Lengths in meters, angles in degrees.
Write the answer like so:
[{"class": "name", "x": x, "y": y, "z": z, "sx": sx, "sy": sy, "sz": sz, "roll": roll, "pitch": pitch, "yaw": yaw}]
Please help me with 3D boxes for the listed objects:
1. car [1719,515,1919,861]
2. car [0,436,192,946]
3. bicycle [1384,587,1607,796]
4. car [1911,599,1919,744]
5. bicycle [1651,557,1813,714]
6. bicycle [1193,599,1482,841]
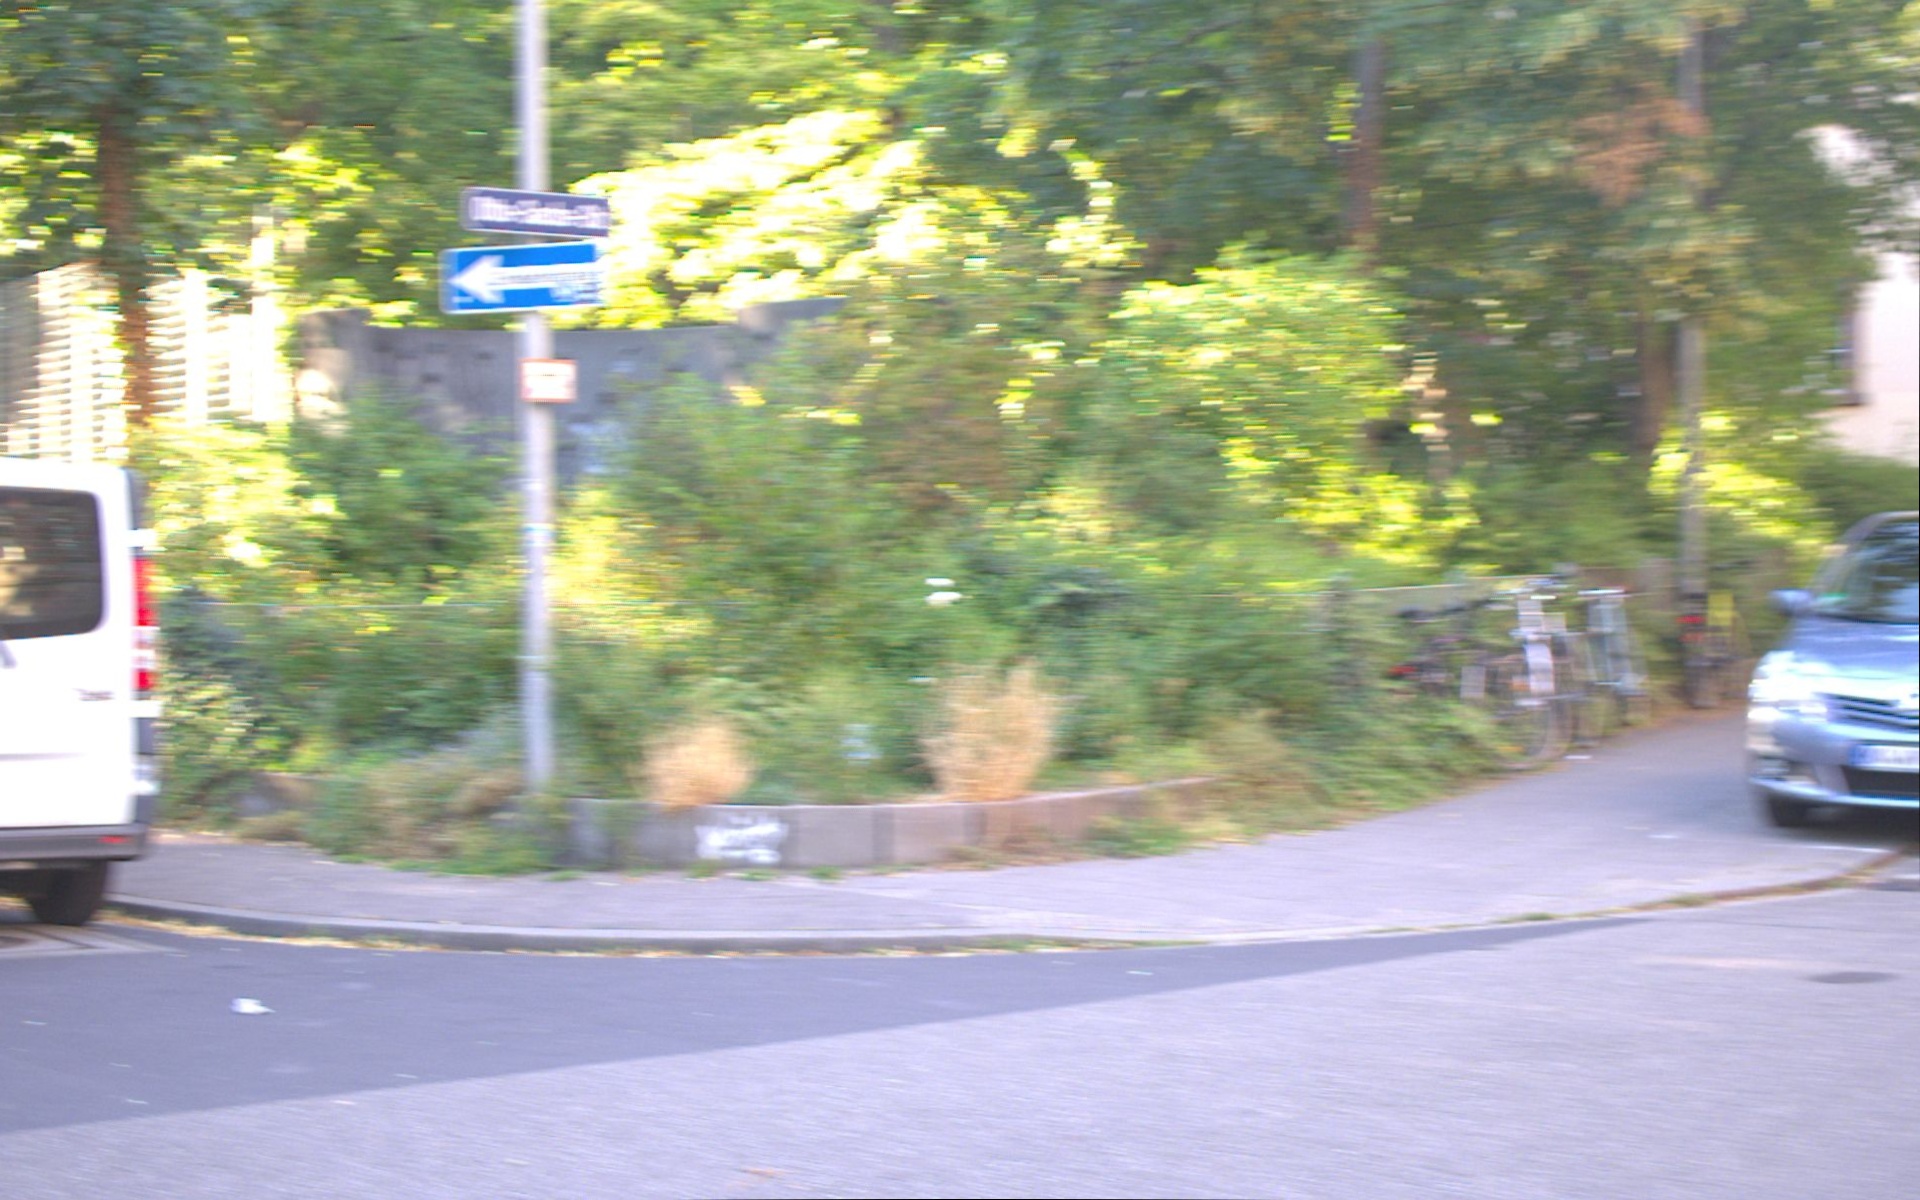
[{"class": "car", "x": 5.510, "y": 0.399, "z": 18.431, "sx": 1.829, "sy": 1.609, "sz": 4.285, "roll": 4, "pitch": 3, "yaw": 25}, {"class": "car", "x": -5.355, "y": 0.322, "z": 15.152, "sx": 1.945, "sy": 1.996, "sz": 4.658, "roll": -1, "pitch": 2, "yaw": -39}, {"class": "bicycle", "x": 3.177, "y": 0.496, "z": 20.174, "sx": 0.597, "sy": 1.097, "sz": 2.624, "roll": 0, "pitch": 1, "yaw": 25}, {"class": "car", "x": 8.095, "y": 0.259, "z": 24.479, "sx": 1.829, "sy": 1.442, "sz": 3.926, "roll": 4, "pitch": 3, "yaw": 25}, {"class": "bicycle", "x": 5.884, "y": 0.240, "z": 26.089, "sx": 0.597, "sy": 1.097, "sz": 2.624, "roll": 1, "pitch": 1, "yaw": 26}, {"class": "bicycle", "x": 1.992, "y": 0.573, "z": 17.732, "sx": 0.597, "sy": 1.097, "sz": 2.623, "roll": 1, "pitch": 1, "yaw": 27}]
